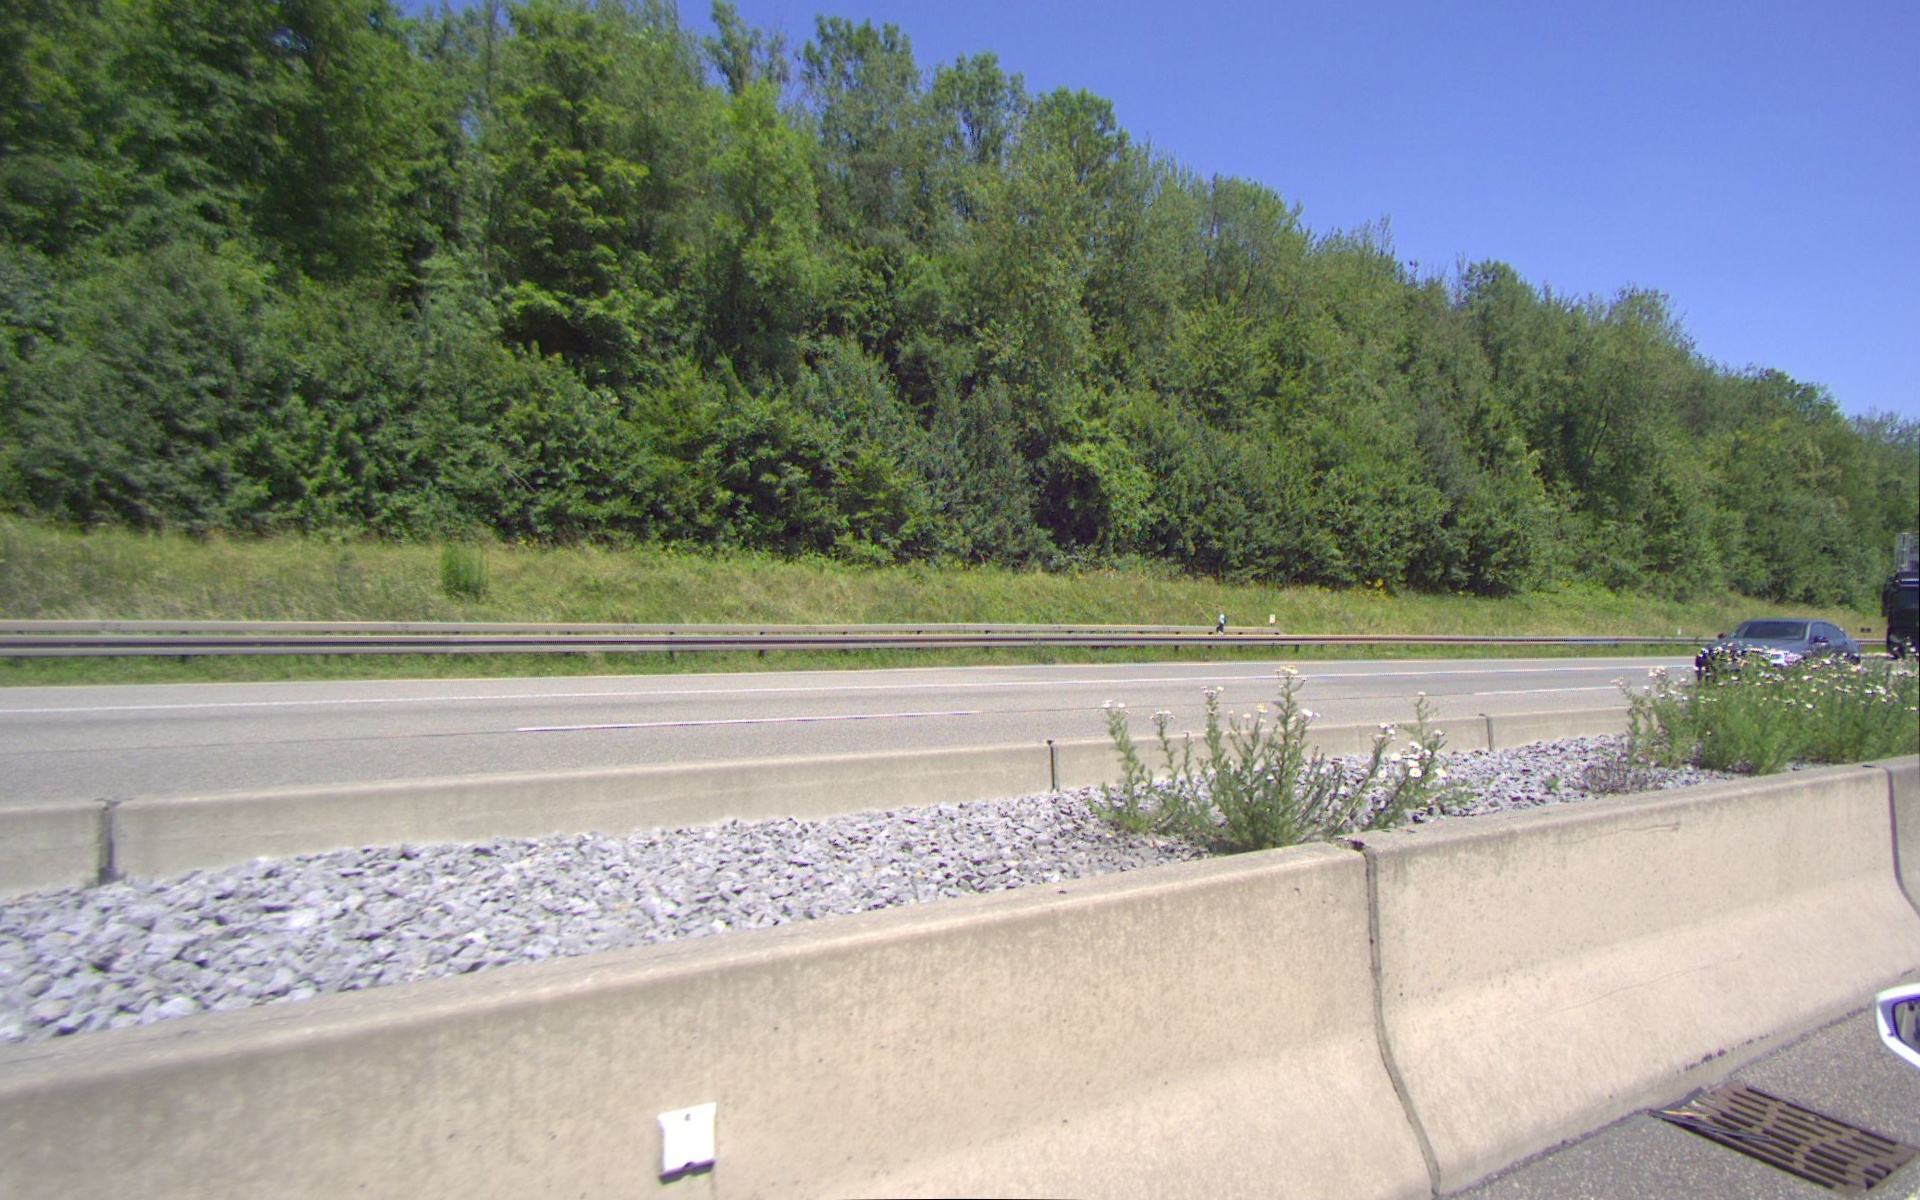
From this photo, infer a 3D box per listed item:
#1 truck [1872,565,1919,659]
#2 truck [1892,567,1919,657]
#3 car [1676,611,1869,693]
[{"bbox_3d":[42.982,0.565,44.187,5.942,3.991,2.812,1,0,-33],"label":"truck"},{"bbox_3d":[48.474,0.652,47.805,13.597,3.991,2.812,1,0,-33],"label":"truck"},{"bbox_3d":[18.469,1.137,22.810,4.422,1.649,1.984,1,0,-31],"label":"car"}]
